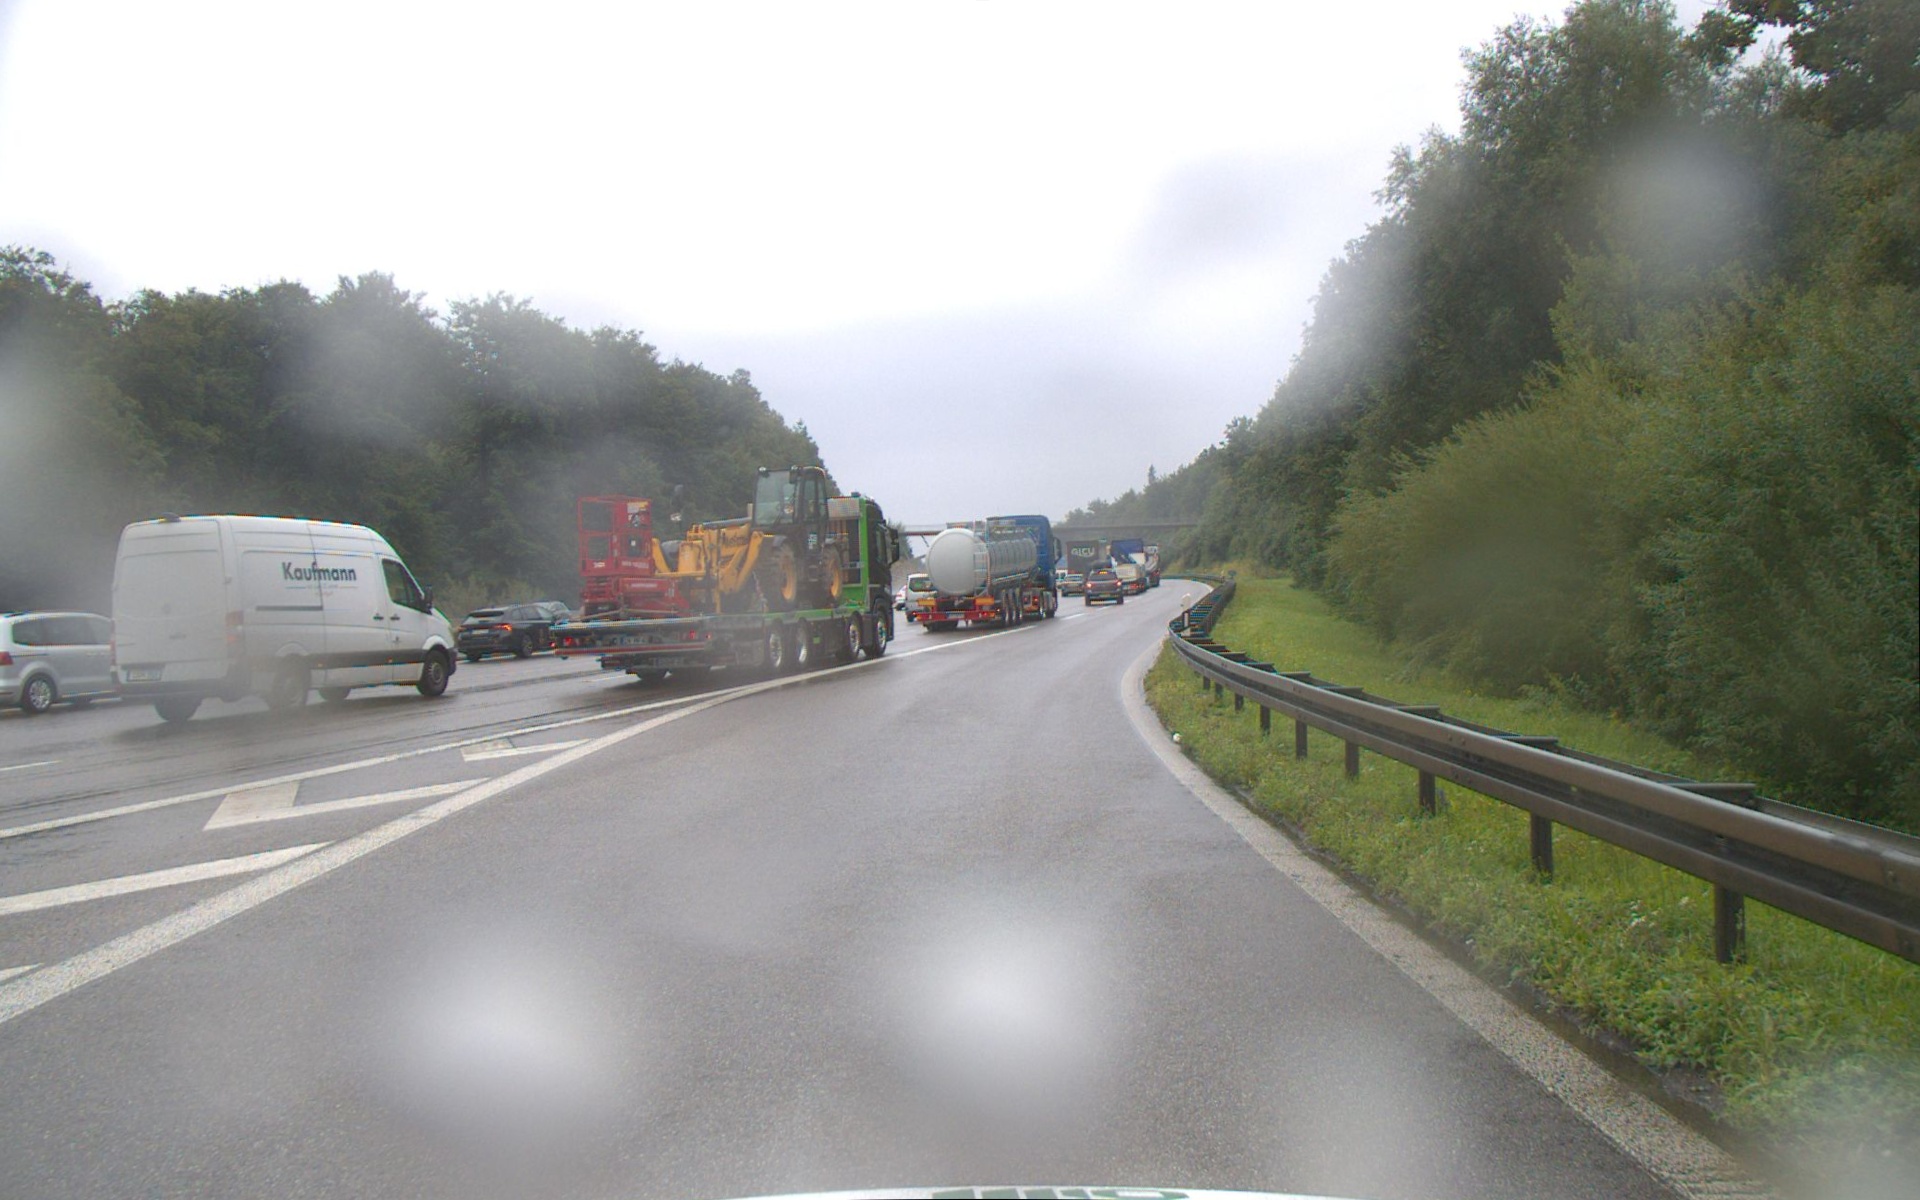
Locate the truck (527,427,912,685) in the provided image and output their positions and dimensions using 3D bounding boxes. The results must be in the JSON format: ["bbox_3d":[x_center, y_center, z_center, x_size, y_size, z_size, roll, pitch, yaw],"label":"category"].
[{"bbox_3d":[-3.756,-0.738,30.189,2.771,3.651,11.808,-3,0,12],"label":"truck"}]

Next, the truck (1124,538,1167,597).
[{"bbox_3d":[19.467,-3.314,173.153,4.244,5.864,9.738,1,0,7],"label":"truck"}]

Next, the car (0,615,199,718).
[{"bbox_3d":[-15.657,1.123,28.894,1.826,1.549,4.634,-2,0,13],"label":"car"}]

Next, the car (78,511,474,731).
[{"bbox_3d":[-9.455,0.243,23.612,2.168,2.675,5.849,-2,0,13],"label":"car"}]

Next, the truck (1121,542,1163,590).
[{"bbox_3d":[16.692,-3.037,151.818,3.675,4.040,11.066,1,0,6],"label":"truck"}]

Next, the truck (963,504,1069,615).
[{"bbox_3d":[2.098,-1.464,59.981,2.815,3.757,5.061,-2,1,12],"label":"truck"}]

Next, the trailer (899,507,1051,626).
[{"bbox_3d":[0.691,-1.097,53.390,2.812,3.346,10.088,-2,1,12],"label":"trailer"}]

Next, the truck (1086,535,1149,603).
[{"bbox_3d":[10.671,-2.096,110.936,3.523,4.176,11.570,-3,1,8],"label":"truck"}]

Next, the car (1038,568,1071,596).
[{"bbox_3d":[11.131,-2.097,194.749,3.177,3.055,6.779,1,0,9],"label":"car"}]

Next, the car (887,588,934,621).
[{"bbox_3d":[-2.874,0.255,97.473,1.951,1.803,4.138,-2,0,9],"label":"car"}]

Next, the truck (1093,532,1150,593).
[{"bbox_3d":[12.450,-2.770,126.583,3.432,4.342,10.612,1,0,10],"label":"truck"}]

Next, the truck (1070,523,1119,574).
[{"bbox_3d":[12.608,-4.746,154.278,3.500,4.167,10.888,-2,-1,9],"label":"truck"}]

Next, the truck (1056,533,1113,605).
[{"bbox_3d":[10.255,-2.414,135.202,3.674,5.595,10.181,1,0,10],"label":"truck"}]

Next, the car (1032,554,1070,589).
[{"bbox_3d":[8.747,-2.685,158.061,3.029,3.055,6.778,1,0,7],"label":"car"}]

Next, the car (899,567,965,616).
[{"bbox_3d":[-1.057,-0.338,64.486,1.780,1.797,4.004,-2,1,10],"label":"car"}]

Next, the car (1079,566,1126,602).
[{"bbox_3d":[6.900,-0.755,79.967,1.951,1.665,4.003,1,0,9],"label":"car"}]

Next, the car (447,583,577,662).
[{"bbox_3d":[-12.313,0.612,45.699,1.759,2.049,4.003,1,0,12],"label":"car"}]

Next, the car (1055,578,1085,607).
[{"bbox_3d":[7.689,-0.490,115.101,1.759,1.937,4.003,1,0,8],"label":"car"}]
